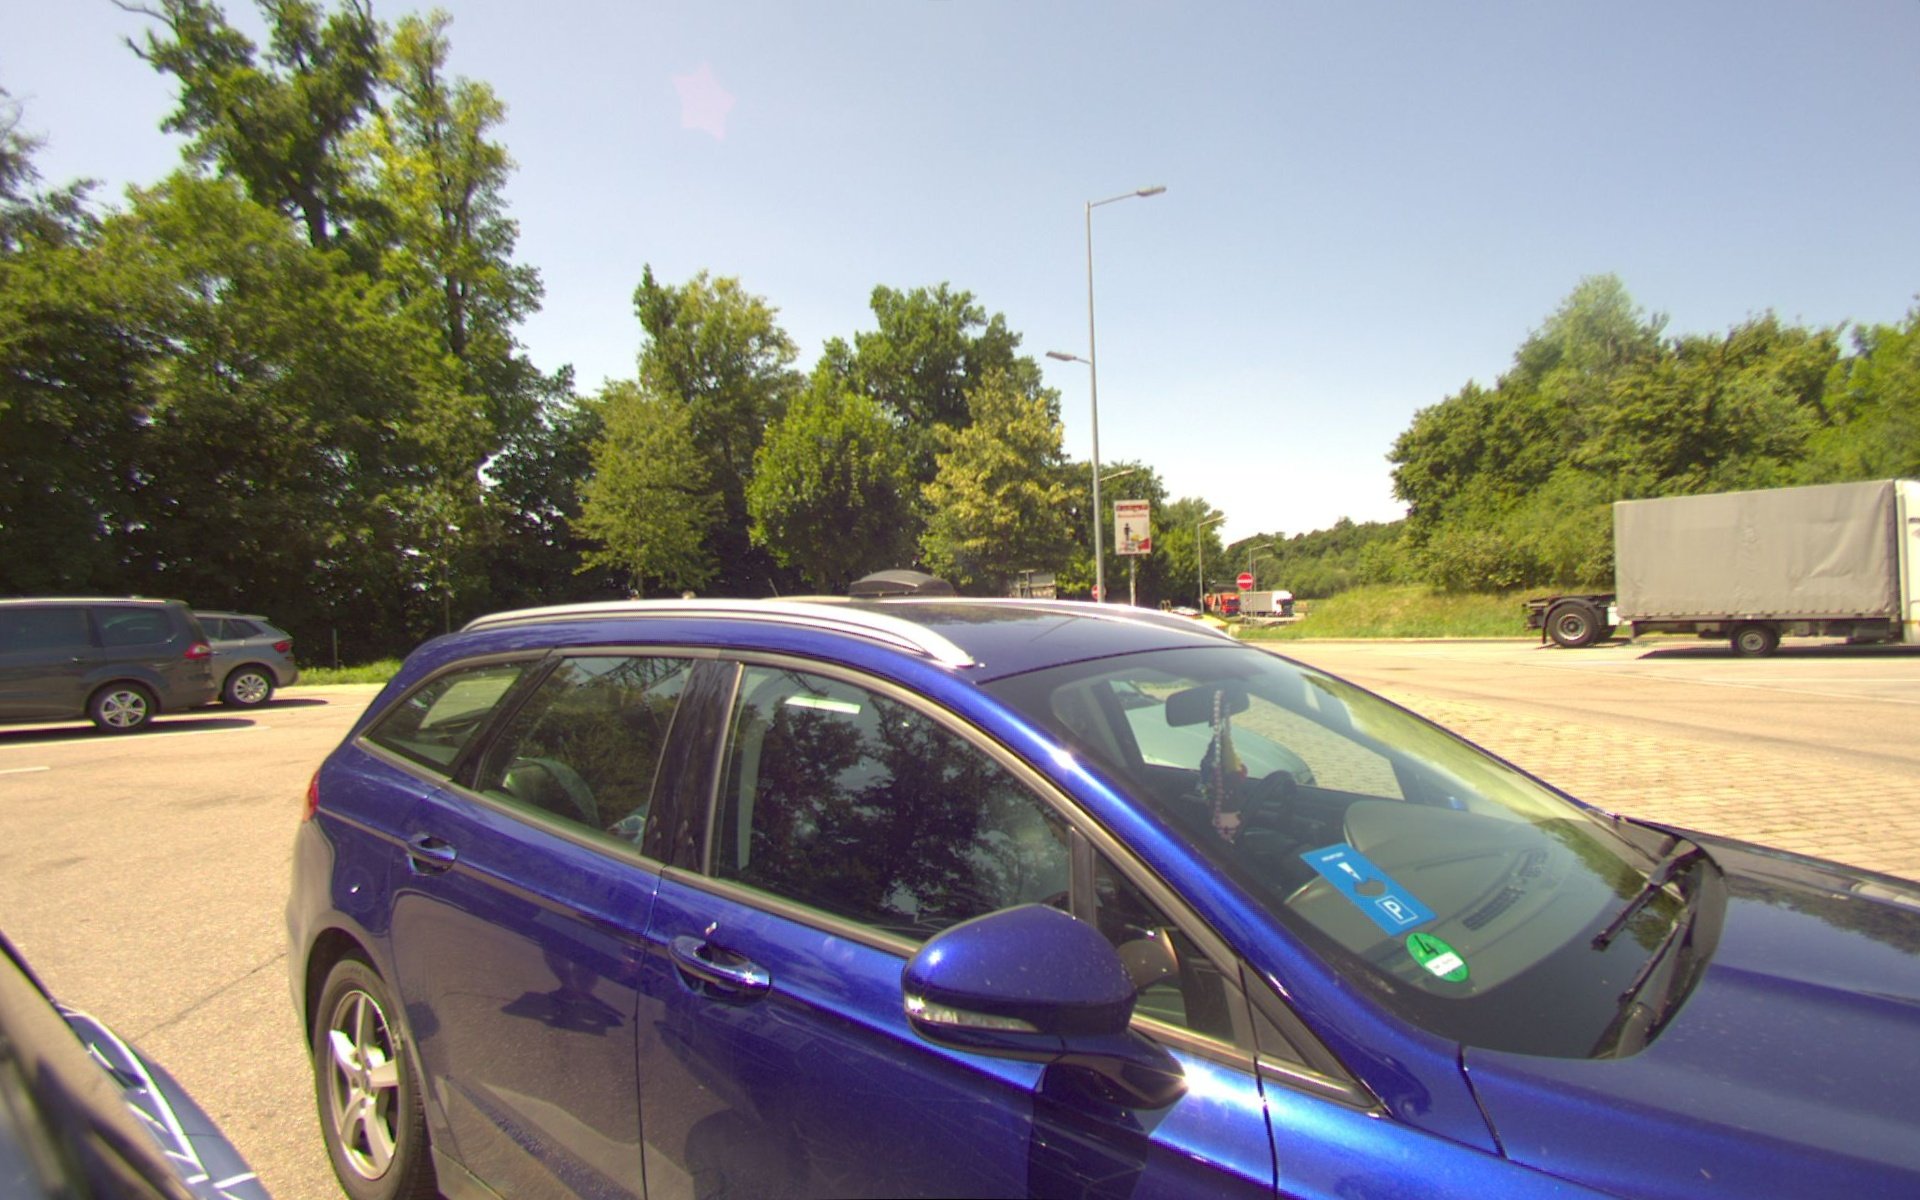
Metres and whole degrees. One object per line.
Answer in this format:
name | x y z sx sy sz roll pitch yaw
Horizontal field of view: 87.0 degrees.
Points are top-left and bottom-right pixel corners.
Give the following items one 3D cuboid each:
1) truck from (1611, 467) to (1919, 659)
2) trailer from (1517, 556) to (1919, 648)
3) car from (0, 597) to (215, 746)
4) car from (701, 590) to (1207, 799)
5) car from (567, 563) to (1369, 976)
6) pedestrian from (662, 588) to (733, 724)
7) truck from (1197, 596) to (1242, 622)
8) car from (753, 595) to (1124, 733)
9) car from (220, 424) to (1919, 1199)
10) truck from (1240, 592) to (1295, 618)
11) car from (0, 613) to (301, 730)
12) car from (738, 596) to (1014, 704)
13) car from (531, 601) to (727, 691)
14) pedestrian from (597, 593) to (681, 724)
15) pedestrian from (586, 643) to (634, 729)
truck | 16.828 -0.660 18.958 7.295 3.259 2.709 -4 -1 43
trailer | 17.254 0.119 23.386 7.295 1.701 2.235 -4 -1 43
car | -11.941 0.856 12.295 4.553 1.725 1.741 0 -1 -41
car | -0.244 0.747 9.205 4.490 1.437 1.754 -3 -1 40
car | -0.257 0.692 5.830 4.490 1.511 1.754 -3 -1 40
pedestrian | -3.475 0.726 13.440 0.667 1.746 0.833 -1 -1 3
truck | 43.121 1.430 168.790 3.088 4.150 15.406 -1 0 -2
car | -0.385 0.772 12.752 4.485 1.437 1.756 -3 -1 36
car | 0.255 0.660 2.132 4.490 1.502 1.851 -3 0 40
truck | 48.841 0.777 161.573 2.570 3.849 16.338 -1 0 -4
car | -12.596 1.000 15.459 1.687 1.515 3.943 -1 0 43
car | -1.476 0.822 16.852 4.485 1.562 1.756 -3 -1 36
car | -6.932 0.889 21.790 1.979 1.725 4.599 -1 0 12
pedestrian | -4.238 0.763 13.383 0.824 1.676 0.674 -1 -1 11
pedestrian | -4.430 1.076 12.820 0.429 1.052 0.438 -1 -1 5
